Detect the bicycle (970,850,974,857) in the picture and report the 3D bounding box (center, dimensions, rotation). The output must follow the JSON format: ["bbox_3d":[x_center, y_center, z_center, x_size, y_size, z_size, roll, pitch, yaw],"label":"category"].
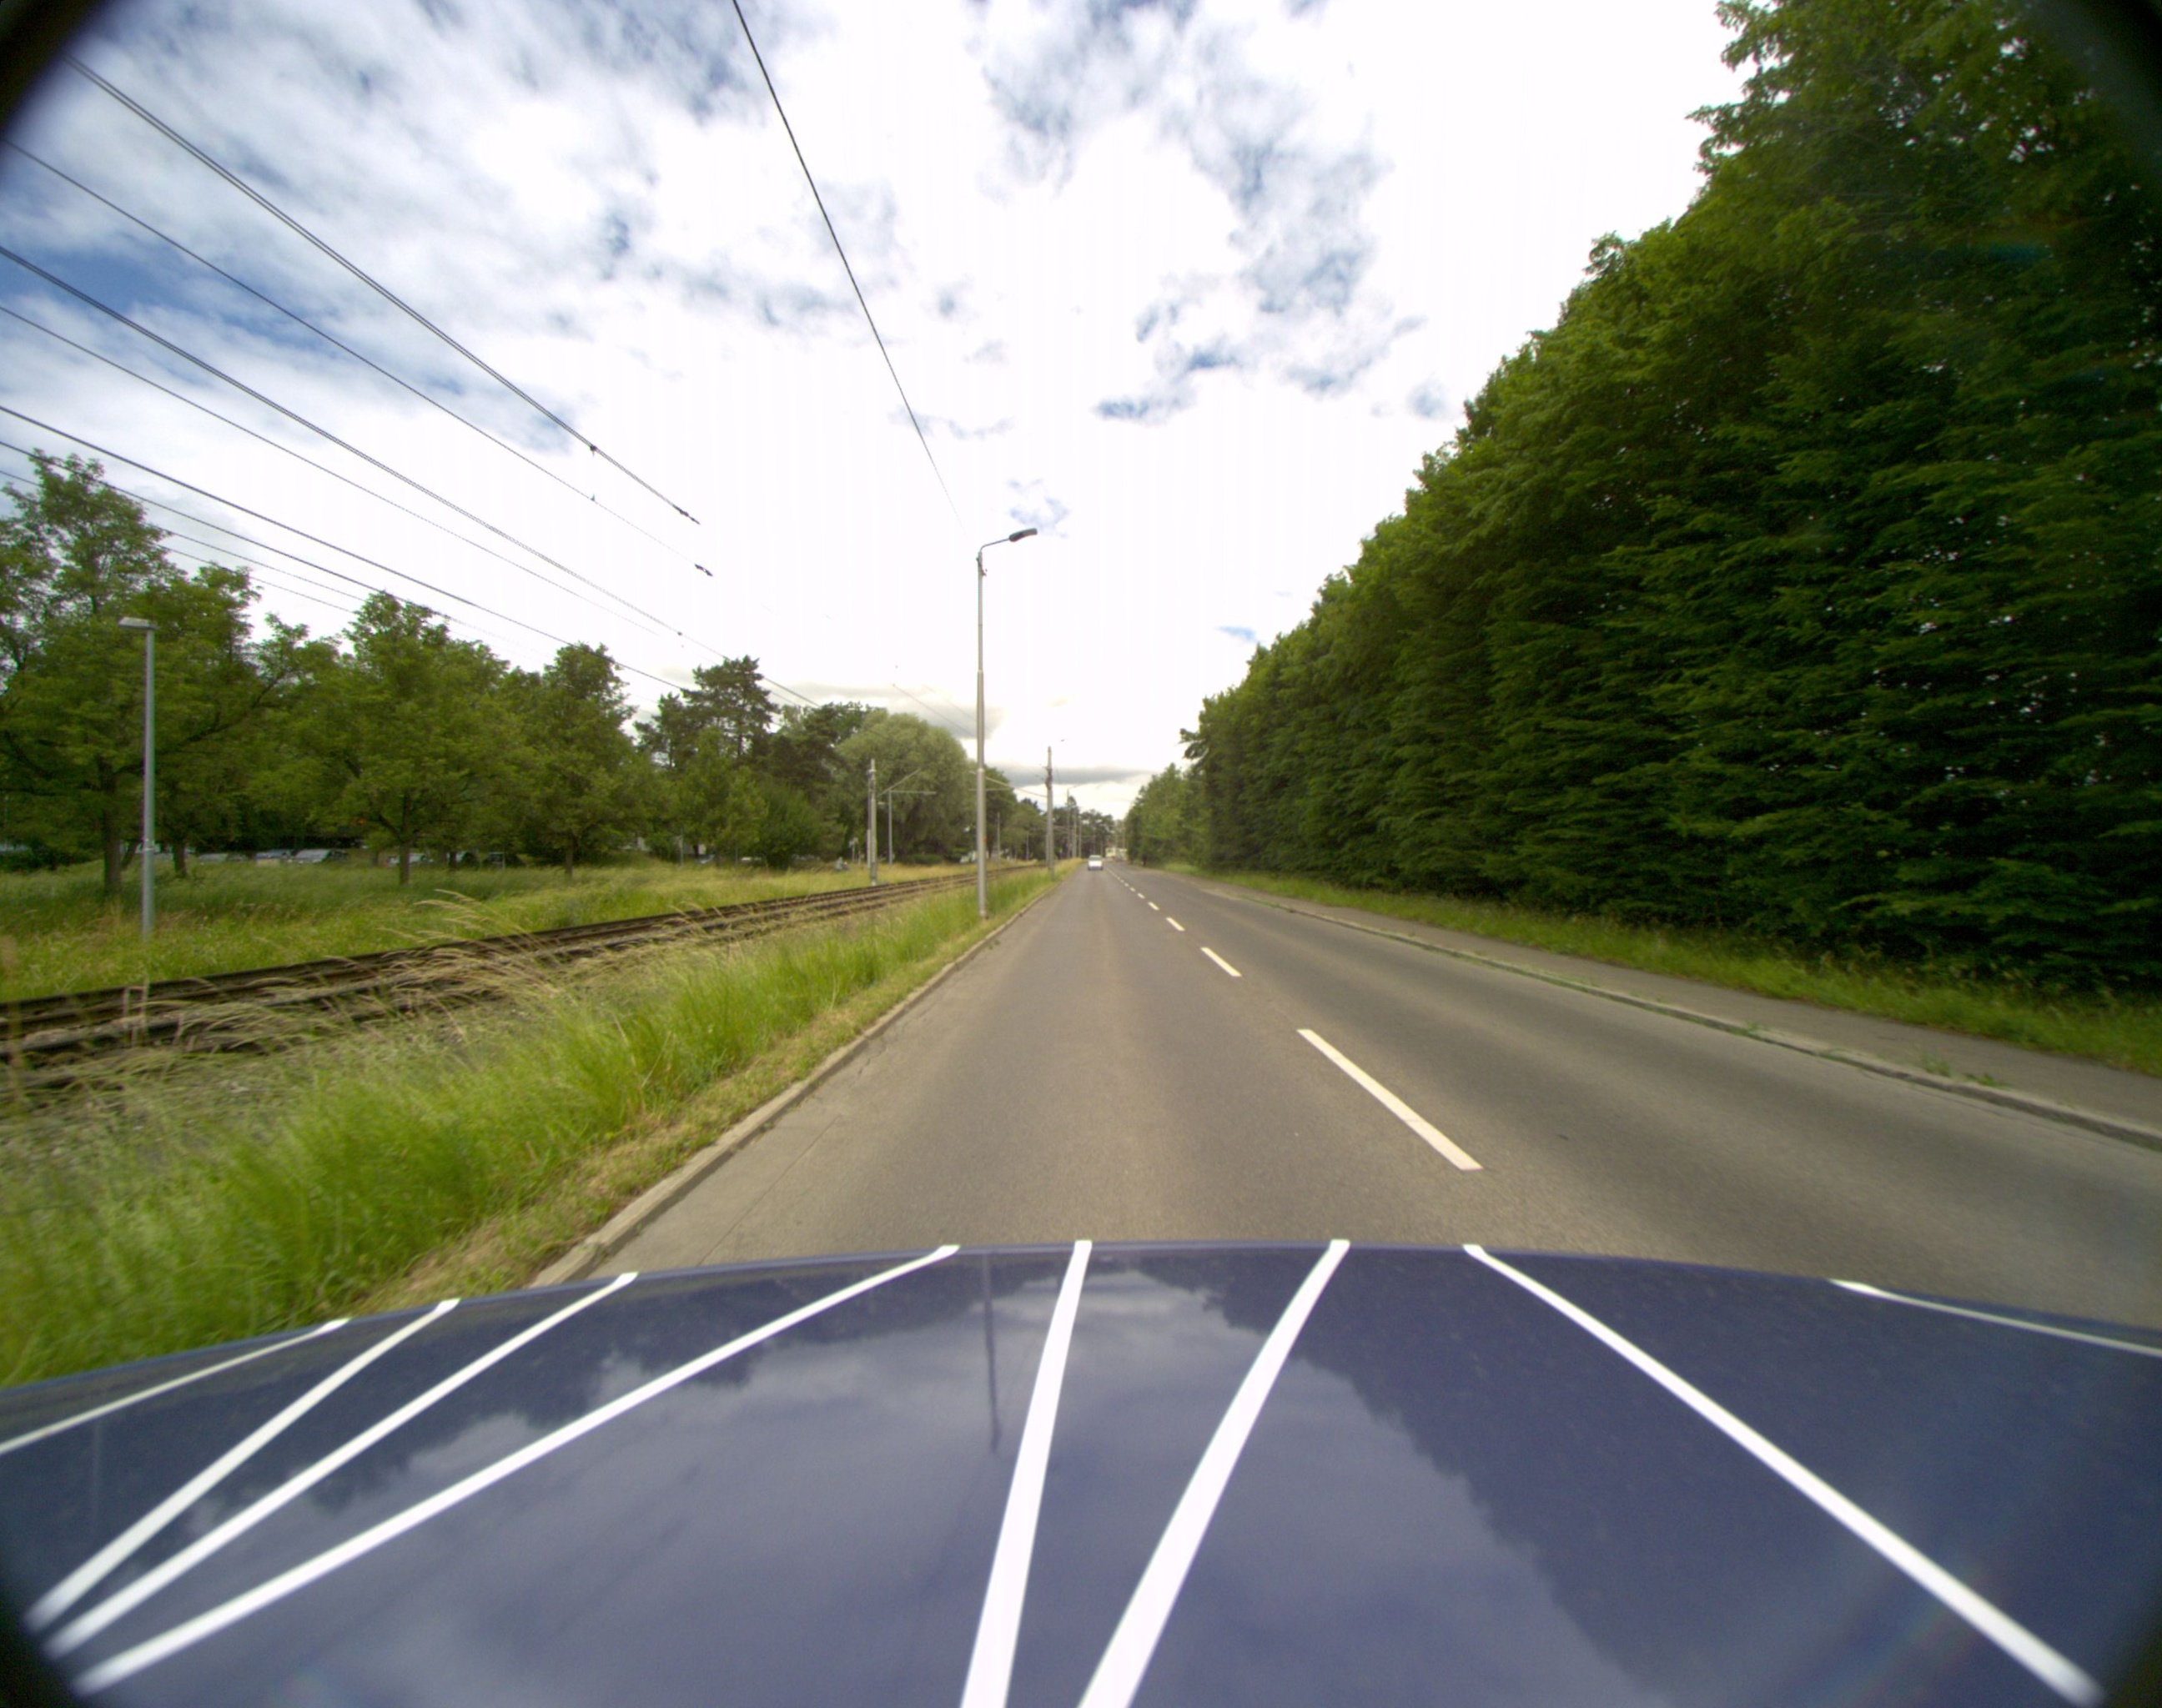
[{"bbox_3d":[-20.664,-0.061,143.893,0.582,1.239,1.929,0,0,-2],"label":"bicycle"}]

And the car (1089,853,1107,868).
[{"bbox_3d":[1.933,0.761,85.558,1.734,1.638,4.226,-1,-1,-2],"label":"car"}]

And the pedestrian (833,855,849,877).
[{"bbox_3d":[-18.183,0.914,57.510,0.656,1.657,0.960,1,1,42],"label":"pedestrian"}]

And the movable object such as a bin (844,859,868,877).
[{"bbox_3d":[-17.342,1.074,58.472,0.658,1.303,1.646,1,1,42],"label":"movable object such as a bin"}]

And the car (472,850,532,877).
[{"bbox_3d":[-40.426,0.657,53.179,1.750,1.793,3.996,-1,0,-11],"label":"car"}]

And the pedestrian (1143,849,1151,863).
[{"bbox_3d":[8.337,0.303,96.330,0.870,1.759,0.789,0,0,-5],"label":"pedestrian"}]

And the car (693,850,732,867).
[{"bbox_3d":[-39.474,0.478,81.520,1.998,1.690,4.001,-1,0,3],"label":"car"}]

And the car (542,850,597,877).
[{"bbox_3d":[-35.740,0.619,53.226,1.750,1.793,3.996,-1,0,-11],"label":"car"}]

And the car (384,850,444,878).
[{"bbox_3d":[-45.898,0.665,52.380,2.002,1.801,3.992,-1,0,-24],"label":"car"}]
